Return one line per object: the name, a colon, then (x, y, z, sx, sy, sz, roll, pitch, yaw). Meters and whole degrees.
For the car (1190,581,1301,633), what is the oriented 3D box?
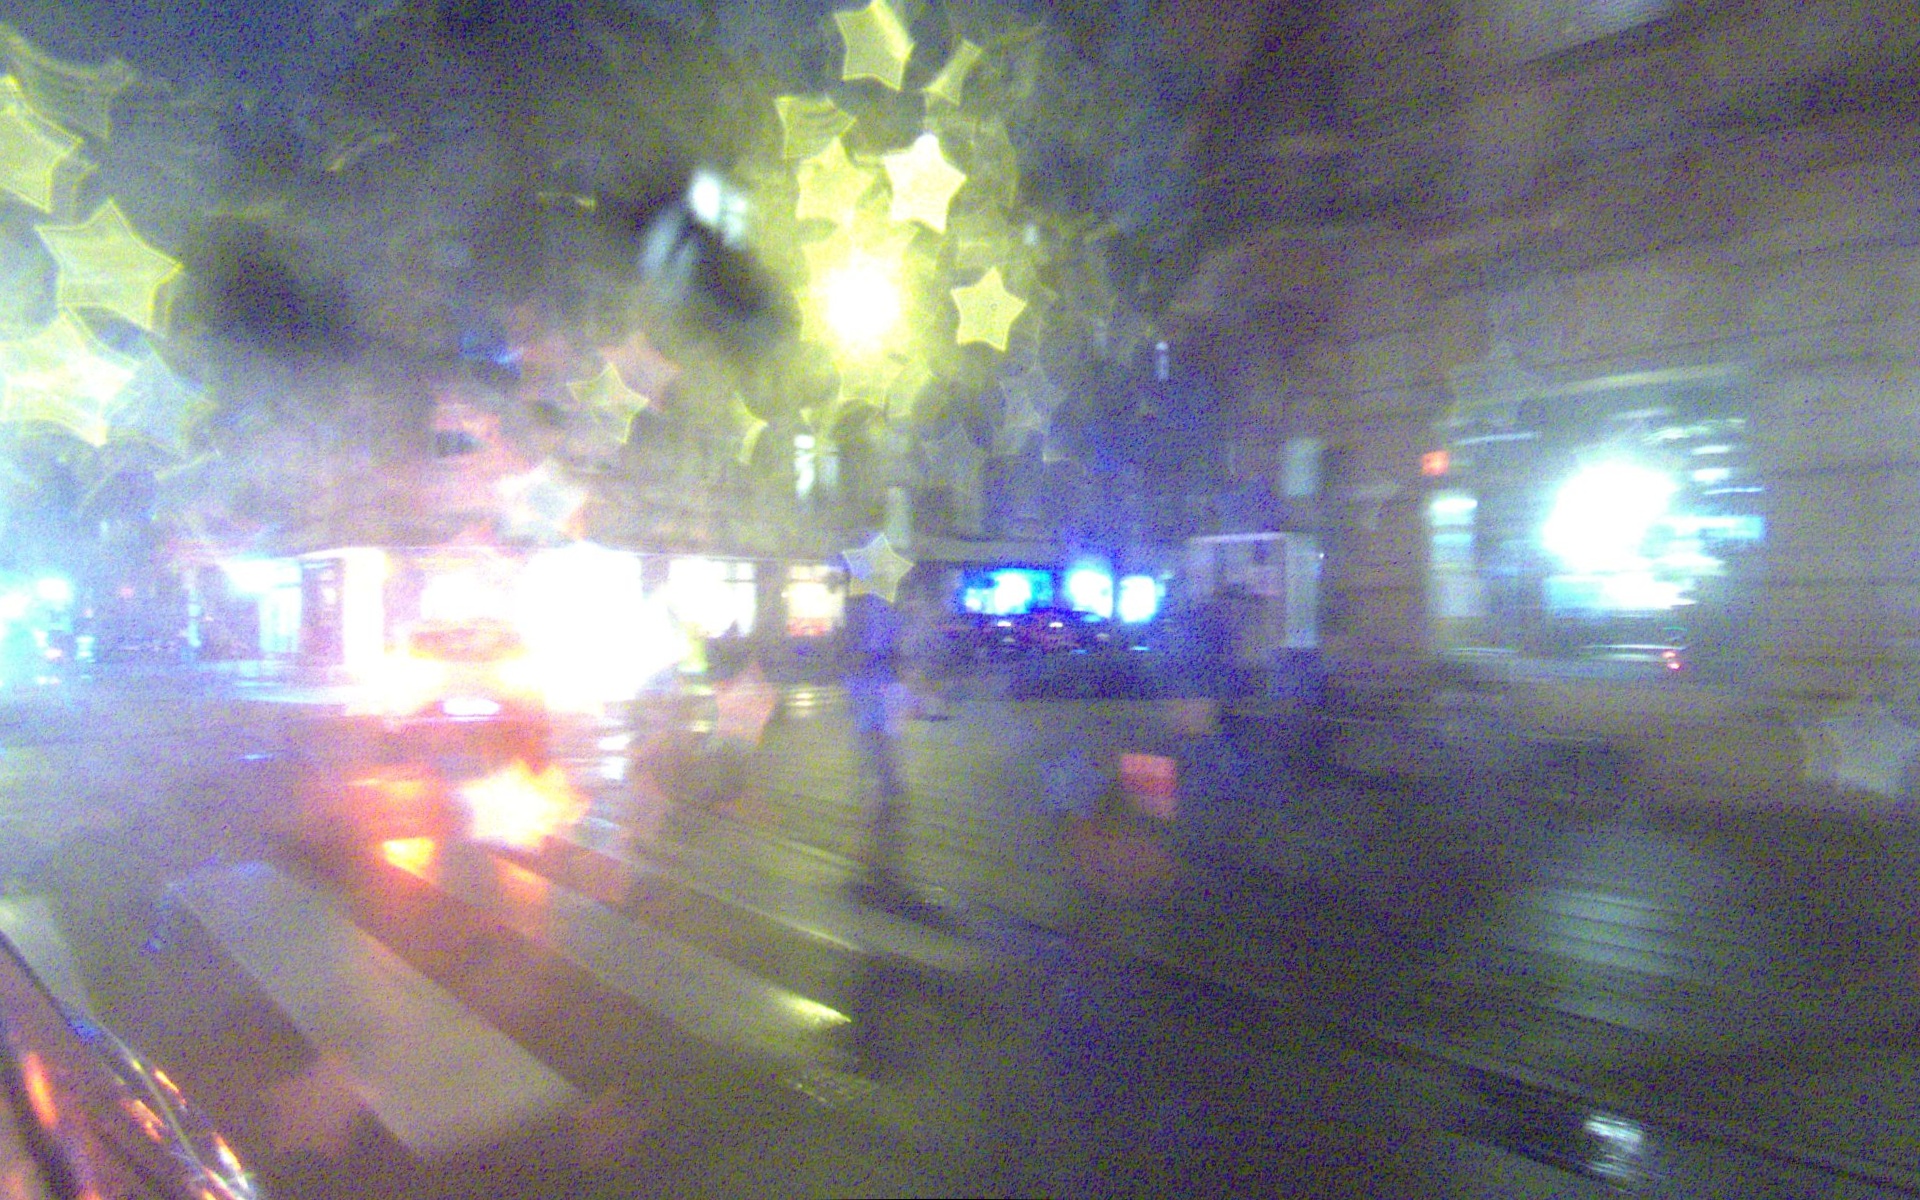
car: (11.886, 0.305, 42.222, 3.995, 2.029, 1.975, -1, 1, 38)

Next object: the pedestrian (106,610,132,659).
pedestrian: (-39.478, 1.599, 47.484, 1.116, 2.258, 0.790, -1, -1, 42)

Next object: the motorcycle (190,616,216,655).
motorcycle: (-29.311, 1.367, 39.186, 1.458, 1.482, 0.531, -1, 0, 43)

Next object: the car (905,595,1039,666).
car: (0.333, 0.889, 31.782, 1.970, 2.028, 4.004, -2, 1, -43)

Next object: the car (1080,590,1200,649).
car: (6.657, 0.691, 37.675, 1.970, 2.028, 4.004, -2, 1, -43)

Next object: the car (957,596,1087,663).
car: (1.986, 0.913, 33.294, 1.970, 2.028, 4.004, -2, 1, -43)

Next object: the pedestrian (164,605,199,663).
pedestrian: (-24.583, 1.054, 31.957, 0.815, 1.784, 0.601, -1, 0, -35)

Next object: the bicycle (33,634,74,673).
bicycle: (-25.996, 1.517, 29.027, 1.801, 1.067, 0.705, -2, -2, 43)

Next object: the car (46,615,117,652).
car: (-37.800, 1.399, 43.533, 4.157, 1.489, 1.699, -1, 0, 40)

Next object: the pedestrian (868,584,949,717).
pedestrian: (-0.765, 0.730, 14.878, 0.786, 1.872, 0.949, 2, -2, -34)

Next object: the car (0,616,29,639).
car: (-65.774, 1.924, 69.920, 3.735, 1.489, 1.827, -1, 1, 43)

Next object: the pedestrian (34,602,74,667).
pedestrian: (-25.999, 0.989, 29.032, 1.125, 1.825, 0.705, -2, -2, 41)

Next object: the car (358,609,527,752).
car: (-6.157, 0.832, 12.333, 1.541, 1.438, 4.082, 1, -1, -24)

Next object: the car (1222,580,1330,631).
car: (13.717, 0.240, 43.975, 3.995, 2.028, 1.975, -1, 2, 38)

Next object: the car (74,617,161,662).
car: (-30.217, 1.367, 36.245, 5.032, 1.489, 1.826, -1, 0, 44)

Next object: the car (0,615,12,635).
car: (-78.169, 2.064, 81.909, 3.735, 1.592, 1.827, -1, 1, 43)

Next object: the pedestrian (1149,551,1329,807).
pedestrian: (2.104, 0.539, 7.659, 0.794, 1.779, 1.017, -2, 1, -41)

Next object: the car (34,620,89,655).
car: (-41.888, 1.692, 47.147, 1.696, 1.489, 3.788, -2, 1, -45)

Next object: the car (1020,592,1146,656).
car: (4.215, 0.784, 35.193, 1.970, 2.028, 4.004, -2, 1, -43)
